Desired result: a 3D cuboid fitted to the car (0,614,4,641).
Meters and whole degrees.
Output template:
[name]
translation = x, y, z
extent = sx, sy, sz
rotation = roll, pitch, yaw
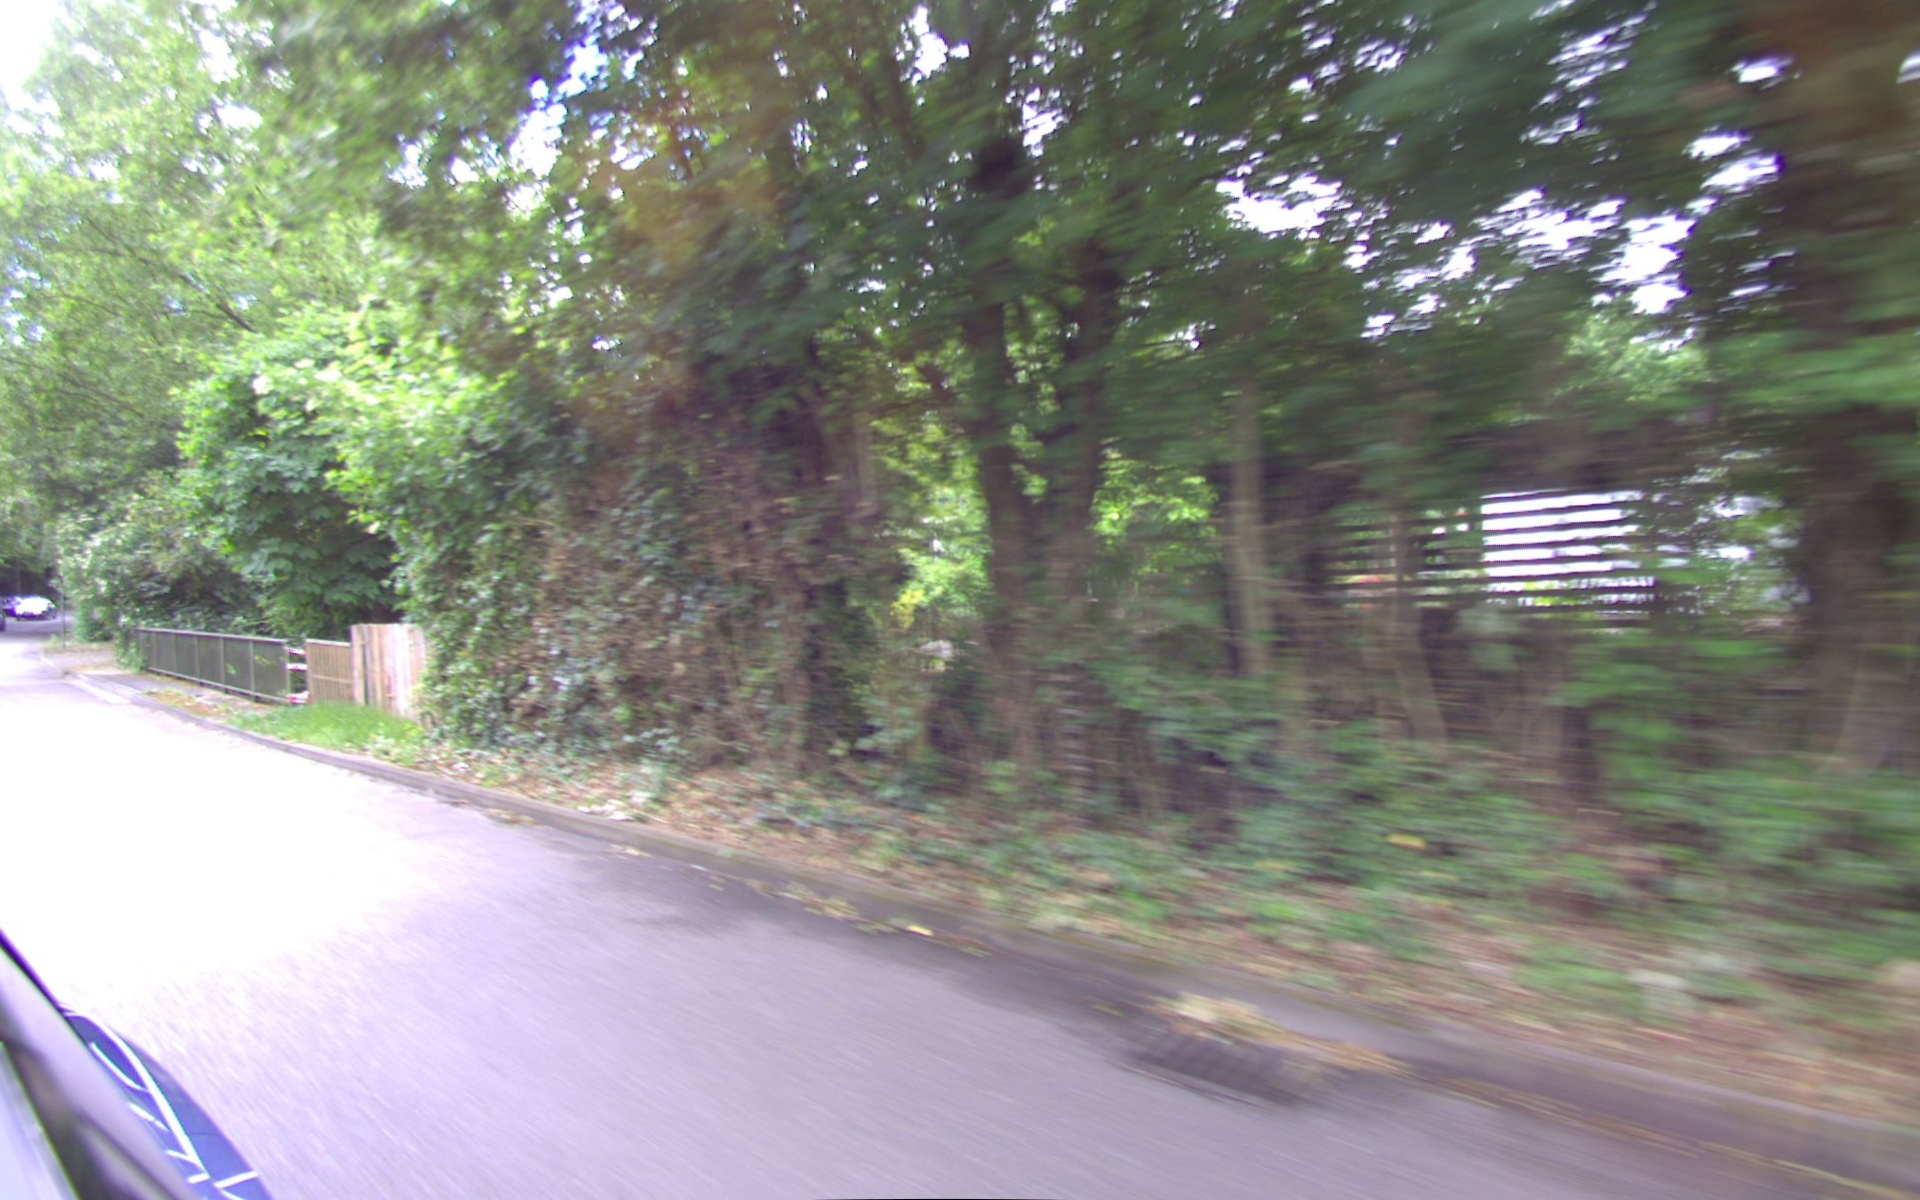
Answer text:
[car]
translation = -56.944, 1.660, 58.430
extent = 1.739, 1.580, 4.057
rotation = -2, 1, -32
